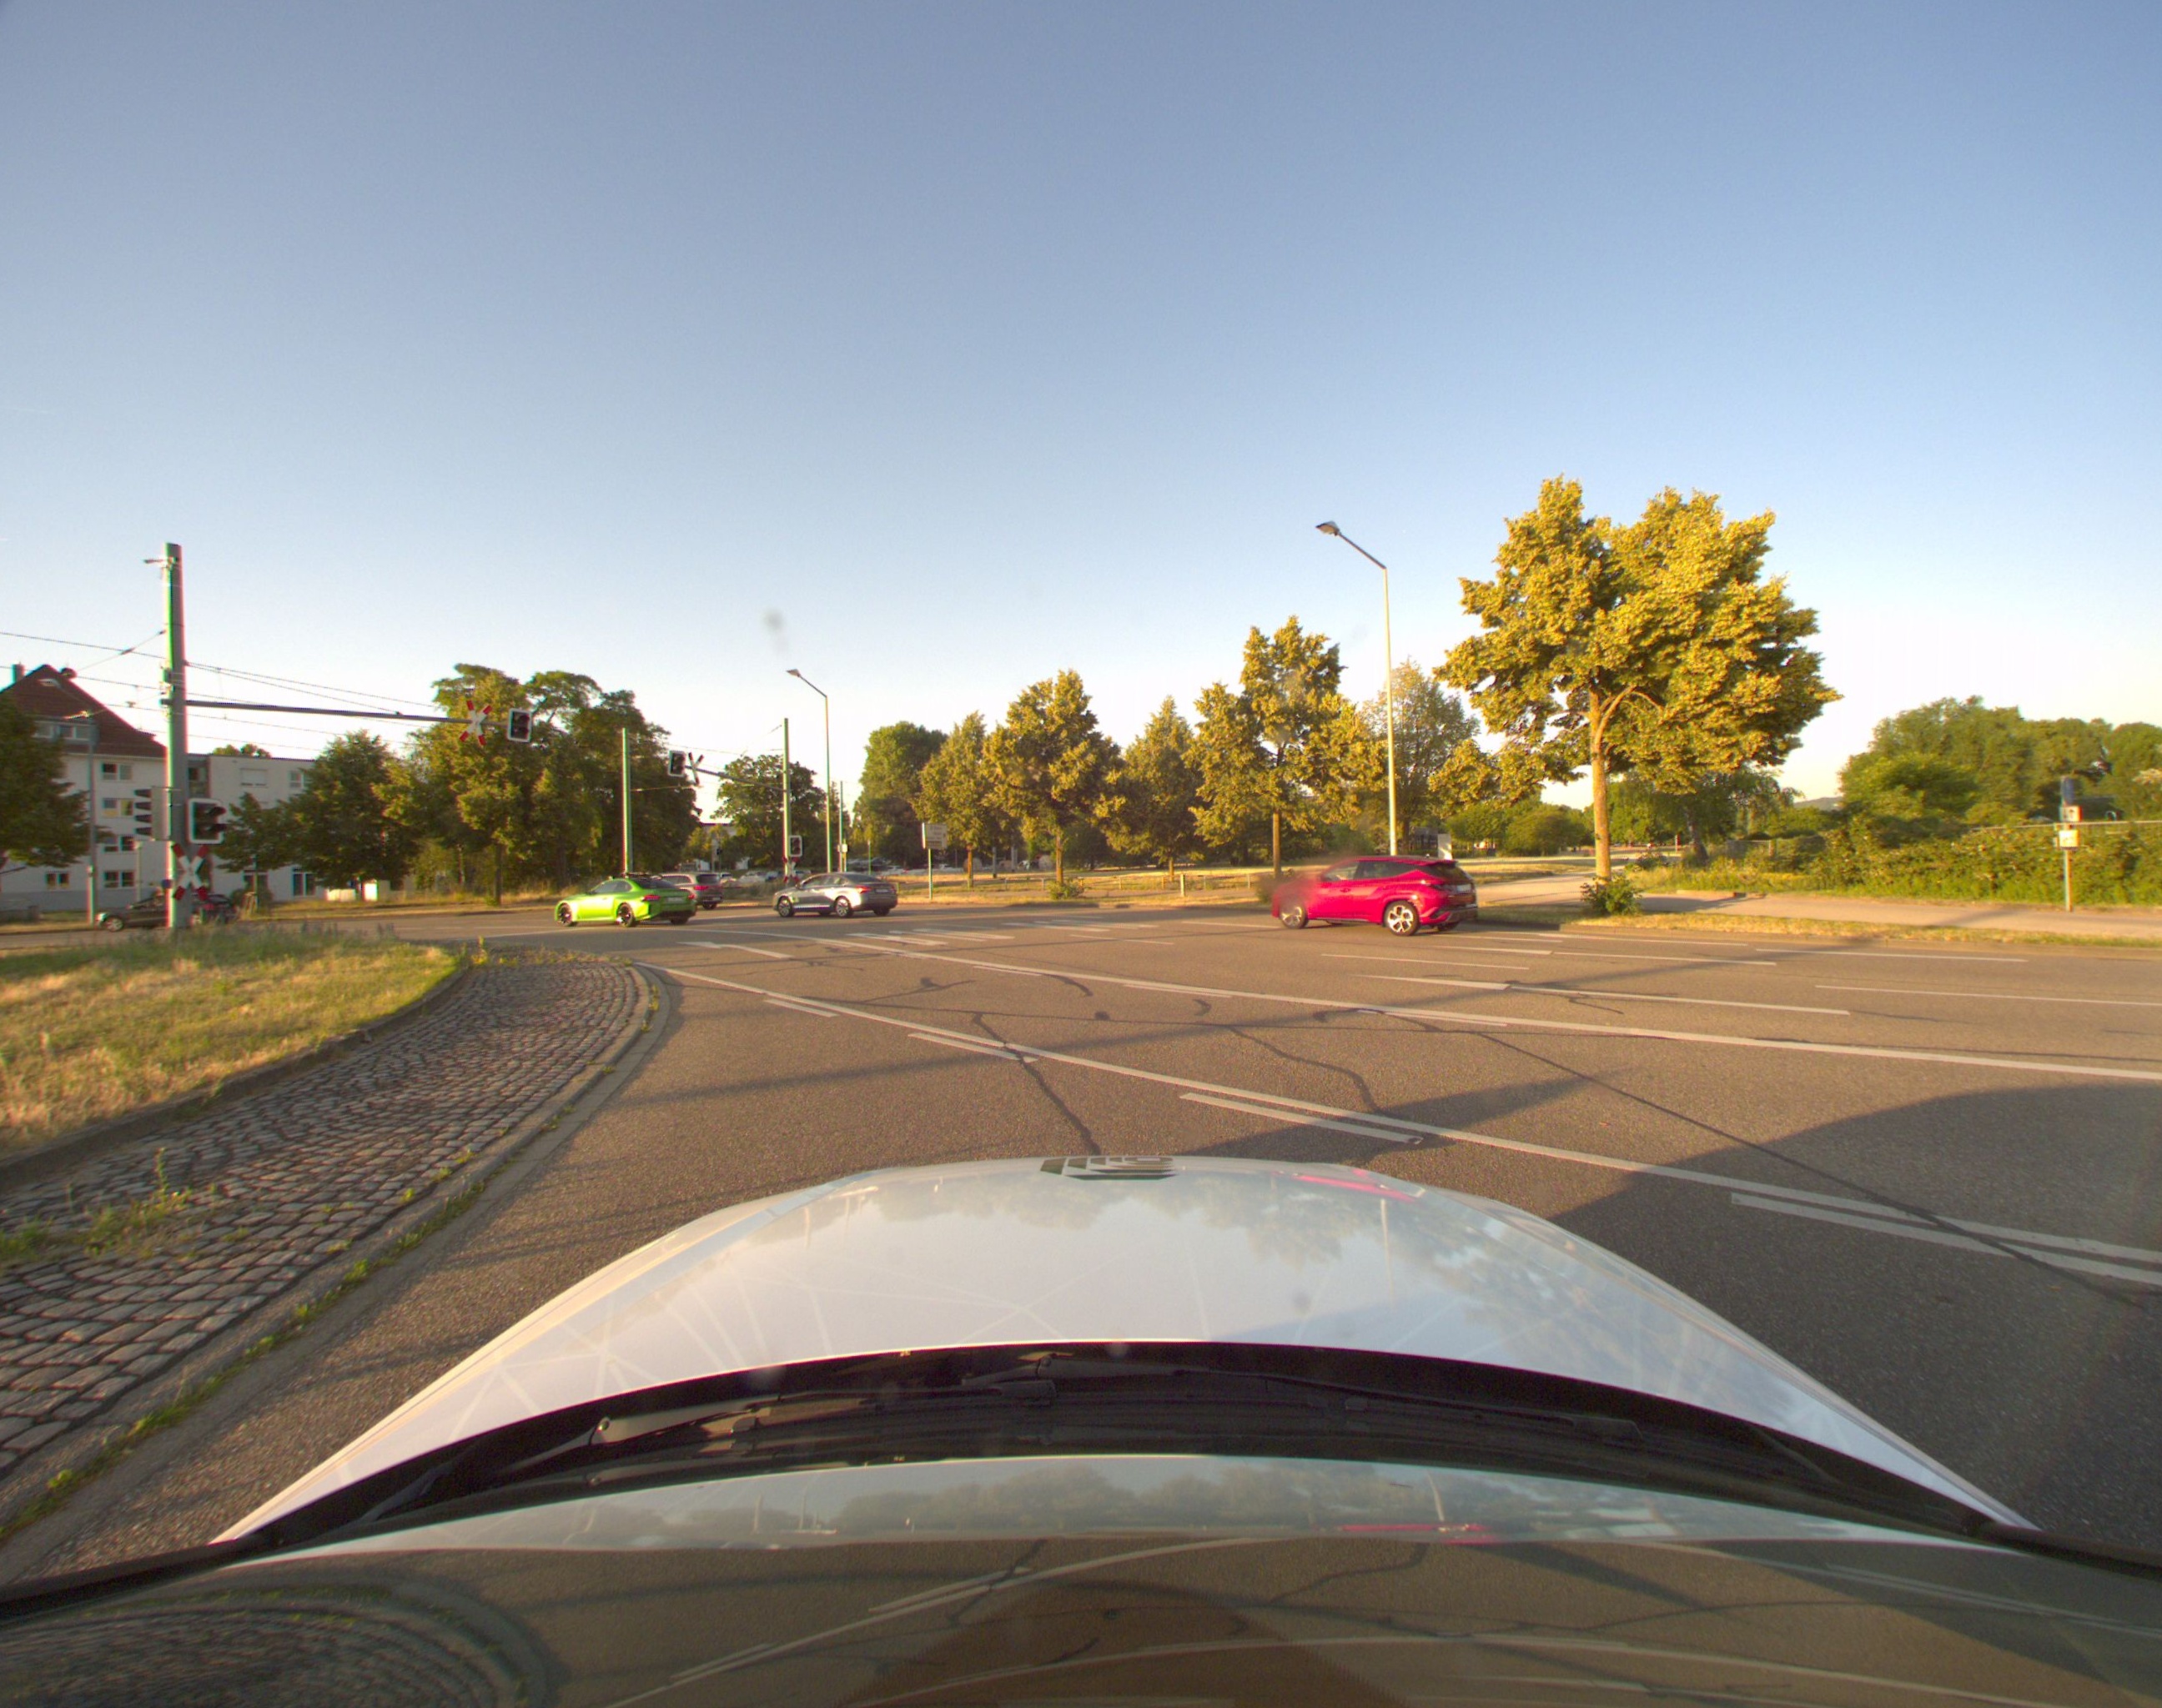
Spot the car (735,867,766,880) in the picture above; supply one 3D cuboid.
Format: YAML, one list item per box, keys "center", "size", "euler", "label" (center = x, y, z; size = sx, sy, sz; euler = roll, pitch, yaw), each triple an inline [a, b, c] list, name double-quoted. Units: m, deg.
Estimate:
- center: [-46.218, 2.778, 113.957]
  size: [4.005, 1.662, 1.984]
  euler: [-2, 0, -24]
  label: "car"

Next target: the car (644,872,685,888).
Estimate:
- center: [-42.642, 2.672, 83.338]
  size: [3.948, 1.604, 2.013]
  euler: [-2, 0, 34]
  label: "car"

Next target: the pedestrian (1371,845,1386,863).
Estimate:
- center: [27.883, 0.008, 76.236]
  size: [1.064, 1.617, 0.911]
  euler: [-2, 0, 4]
  label: "pedestrian"

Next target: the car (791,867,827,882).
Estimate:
- center: [-32.624, 2.453, 97.623]
  size: [3.948, 1.604, 2.013]
  euler: [-2, 0, 34]
  label: "car"

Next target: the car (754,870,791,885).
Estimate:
- center: [-35.497, 2.703, 93.684]
  size: [3.948, 1.604, 2.013]
  euler: [-2, 0, 34]
  label: "car"

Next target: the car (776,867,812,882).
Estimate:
- center: [-33.689, 2.443, 95.443]
  size: [3.948, 1.604, 2.013]
  euler: [-2, 0, 34]
  label: "car"

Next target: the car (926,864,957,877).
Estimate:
- center: [-19.981, 2.364, 116.494]
  size: [3.948, 1.604, 2.013]
  euler: [-2, 0, 34]
  label: "car"

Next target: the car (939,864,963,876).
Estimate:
- center: [-20.829, 2.519, 130.001]
  size: [2.008, 1.752, 4.549]
  euler: [-1, 1, -35]
  label: "car"

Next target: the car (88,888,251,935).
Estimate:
- center: [-36.817, 2.307, 33.032]
  size: [3.996, 1.353, 1.685]
  euler: [-4, 4, -17]
  label: "car"

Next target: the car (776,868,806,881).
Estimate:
- center: [-41.288, 2.876, 116.009]
  size: [4.001, 1.662, 1.889]
  euler: [-2, 0, -20]
  label: "car"

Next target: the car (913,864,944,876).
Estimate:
- center: [-21.456, 2.307, 114.800]
  size: [3.948, 1.604, 2.013]
  euler: [-2, 0, 34]
  label: "car"

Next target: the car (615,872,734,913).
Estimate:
- center: [-17.638, 1.653, 35.381]
  size: [4.474, 1.637, 2.010]
  euler: [-2, 0, 18]
  label: "car"

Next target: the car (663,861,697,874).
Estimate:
- center: [-65.652, 2.227, 133.338]
  size: [1.974, 2.013, 4.627]
  euler: [-2, 0, 32]
  label: "car"

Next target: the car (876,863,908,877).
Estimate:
- center: [-29.366, 2.406, 126.713]
  size: [4.578, 2.013, 1.995]
  euler: [-2, 0, -7]
  label: "car"

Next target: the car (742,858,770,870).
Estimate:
- center: [-57.825, 1.797, 144.948]
  size: [1.974, 2.013, 4.143]
  euler: [-2, 0, 36]
  label: "car"

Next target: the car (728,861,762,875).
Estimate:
- center: [-51.871, 2.116, 125.817]
  size: [1.974, 2.013, 4.627]
  euler: [-2, 0, 32]
  label: "car"

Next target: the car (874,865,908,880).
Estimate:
- center: [-27.640, 2.676, 118.525]
  size: [4.578, 2.013, 1.995]
  euler: [-2, 0, -7]
  label: "car"

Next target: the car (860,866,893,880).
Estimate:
- center: [-26.660, 2.477, 106.000]
  size: [3.948, 1.604, 2.013]
  euler: [-2, 0, 34]
  label: "car"

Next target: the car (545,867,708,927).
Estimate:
- center: [-13.399, 1.246, 23.996]
  size: [4.429, 1.579, 2.012]
  euler: [-2, 0, 27]
  label: "car"

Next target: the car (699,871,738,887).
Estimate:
- center: [-39.011, 2.679, 87.555]
  size: [3.948, 1.604, 2.013]
  euler: [-2, 0, 34]
  label: "car"

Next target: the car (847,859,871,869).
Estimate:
- center: [-41.736, 1.877, 153.035]
  size: [1.974, 1.816, 4.026]
  euler: [-2, 0, 37]
  label: "car"

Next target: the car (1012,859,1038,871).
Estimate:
- center: [-7.944, 1.514, 115.275]
  size: [1.748, 1.618, 3.954]
  euler: [-1, 0, -39]
  label: "car"

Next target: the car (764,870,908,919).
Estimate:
- center: [-8.109, 1.314, 26.879]
  size: [4.610, 1.464, 1.898]
  euler: [-2, 0, 31]
  label: "car"

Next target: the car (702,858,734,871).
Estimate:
- center: [-61.913, 1.781, 139.077]
  size: [1.974, 2.013, 4.628]
  euler: [-2, 0, 36]
  label: "car"

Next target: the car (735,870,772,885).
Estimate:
- center: [-37.042, 2.701, 92.075]
  size: [3.948, 1.604, 2.013]
  euler: [-2, 0, 34]
  label: "car"

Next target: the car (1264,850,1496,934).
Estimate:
- center: [6.418, 0.761, 17.907]
  size: [2.010, 1.573, 4.364]
  euler: [-1, 0, -39]
  label: "car"

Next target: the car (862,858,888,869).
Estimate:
- center: [-37.947, 1.768, 150.056]
  size: [1.975, 2.013, 4.025]
  euler: [-2, 0, 42]
  label: "car"

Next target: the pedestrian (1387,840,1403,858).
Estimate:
- center: [28.886, -0.438, 74.905]
  size: [1.064, 1.617, 0.911]
  euler: [-2, 0, 4]
  label: "pedestrian"

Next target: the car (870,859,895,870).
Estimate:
- center: [-35.671, 1.878, 146.450]
  size: [3.964, 1.706, 2.005]
  euler: [-2, 0, 8]
  label: "car"

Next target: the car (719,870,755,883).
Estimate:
- center: [-46.103, 3.009, 109.158]
  size: [1.878, 1.662, 4.026]
  euler: [-2, 0, 37]
  label: "car"

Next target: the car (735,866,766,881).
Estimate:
- center: [-47.906, 2.768, 118.114]
  size: [4.006, 2.013, 1.984]
  euler: [-2, 0, -24]
  label: "car"

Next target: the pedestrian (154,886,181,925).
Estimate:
- center: [-45.907, 2.578, 40.930]
  size: [0.666, 1.893, 0.619]
  euler: [0, -1, -4]
  label: "pedestrian"
